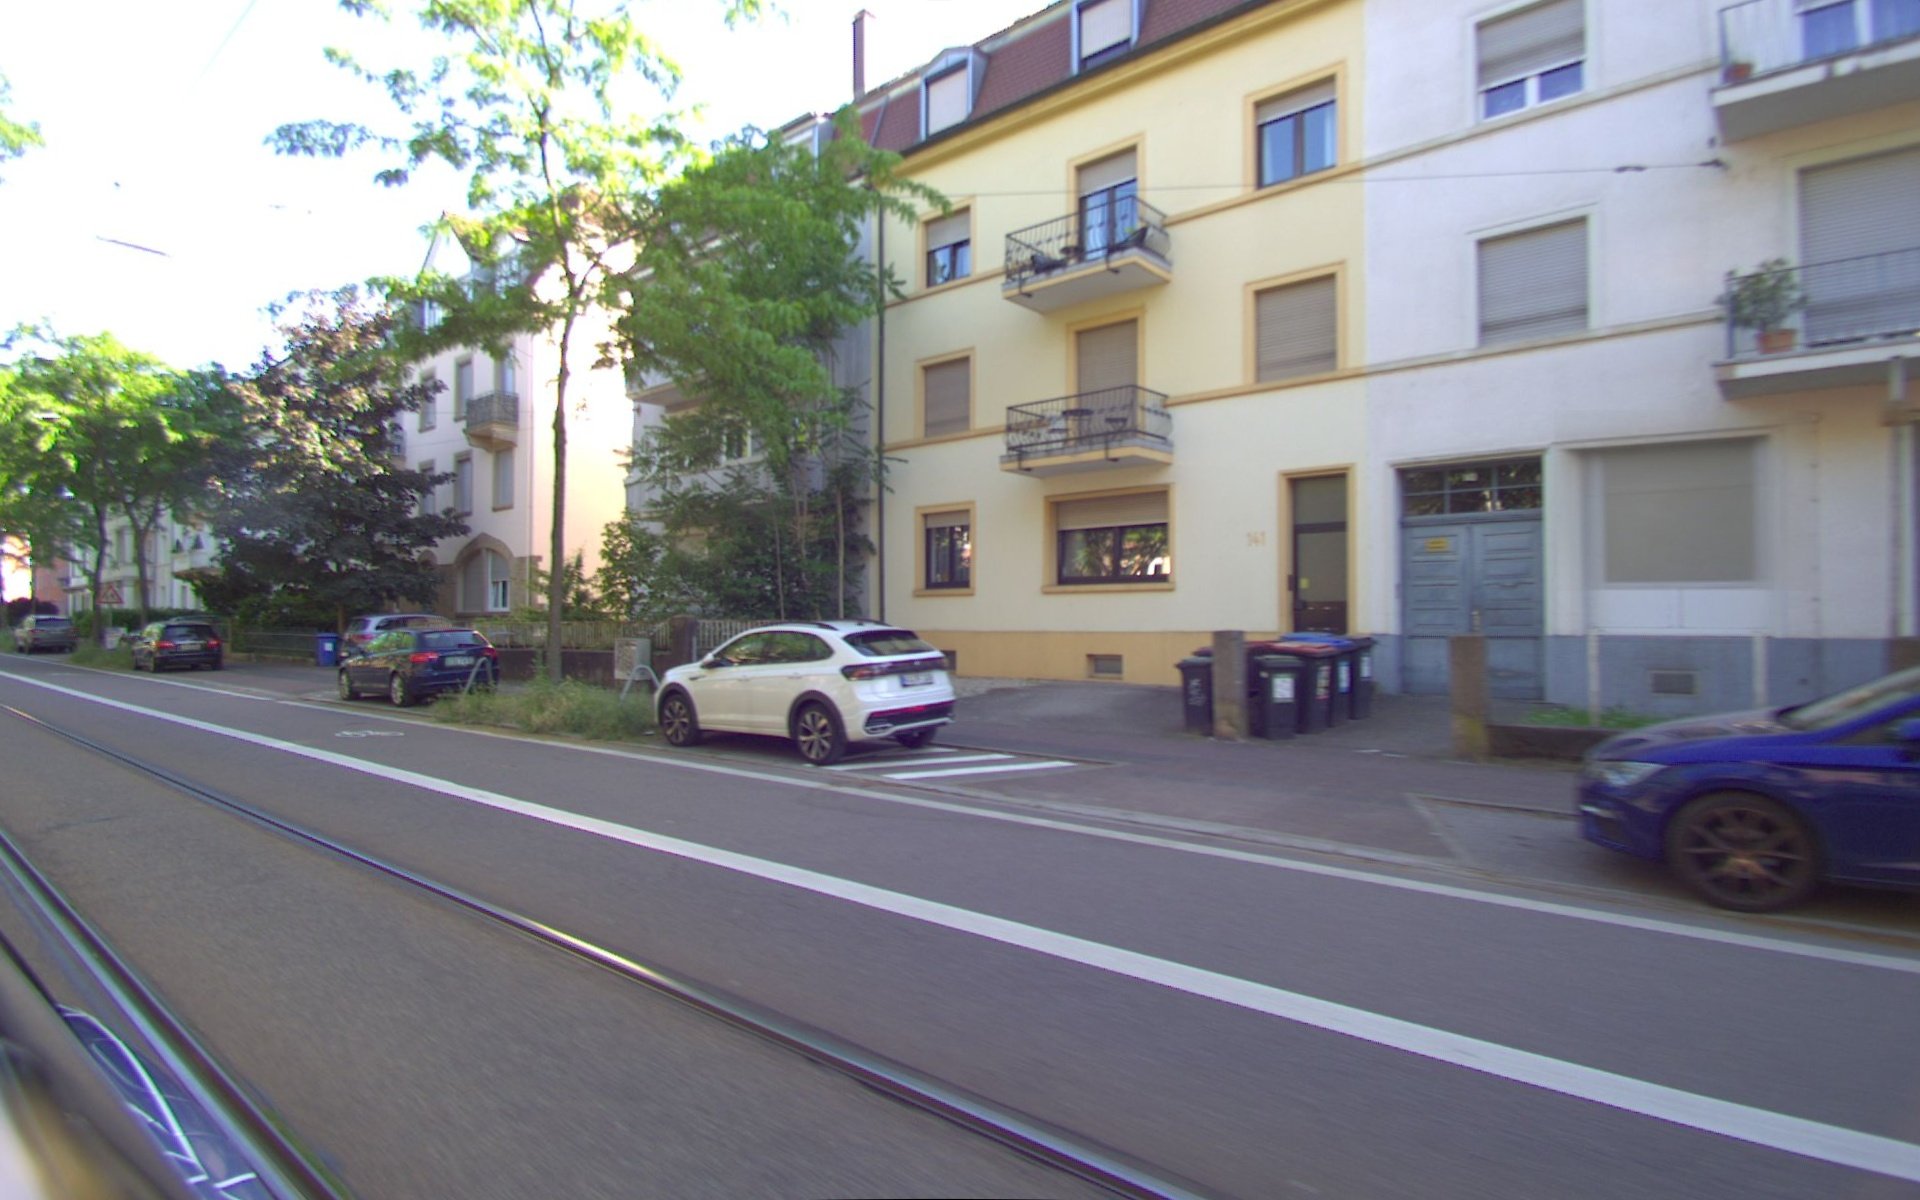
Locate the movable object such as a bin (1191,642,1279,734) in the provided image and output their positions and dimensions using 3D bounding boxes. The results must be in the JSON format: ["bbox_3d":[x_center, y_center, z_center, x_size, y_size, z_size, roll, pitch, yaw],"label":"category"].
[{"bbox_3d":[3.447,1.079,12.688,0.733,1.054,0.835,-1,0,44],"label":"movable object such as a bin"}]

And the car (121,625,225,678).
[{"bbox_3d":[-25.044,1.583,32.151,4.483,1.553,1.758,-1,-1,41],"label":"car"}]

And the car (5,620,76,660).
[{"bbox_3d":[-44.377,1.902,48.818,4.766,1.837,1.852,-1,-1,39],"label":"car"}]

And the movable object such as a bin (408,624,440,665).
[{"bbox_3d":[-14.313,1.189,27.010,0.670,1.074,0.535,-1,-2,41],"label":"movable object such as a bin"}]

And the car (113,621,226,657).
[{"bbox_3d":[-40.363,1.968,51.738,1.952,1.673,4.255,-2,0,42],"label":"car"}]

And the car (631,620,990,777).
[{"bbox_3d":[-1.915,1.028,12.128,4.367,1.522,1.799,-1,-1,40],"label":"car"}]

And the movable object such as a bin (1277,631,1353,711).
[{"bbox_3d":[5.056,0.990,14.404,0.733,1.054,0.835,-1,0,44],"label":"movable object such as a bin"}]

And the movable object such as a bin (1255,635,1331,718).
[{"bbox_3d":[4.561,1.024,13.863,0.733,1.054,0.700,-1,0,44],"label":"movable object such as a bin"}]

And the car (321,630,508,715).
[{"bbox_3d":[-10.529,1.302,19.408,4.330,1.417,1.688,-1,-1,40],"label":"car"}]

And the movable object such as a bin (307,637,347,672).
[{"bbox_3d":[-20.196,1.738,32.300,0.813,1.074,0.866,-1,-2,41],"label":"movable object such as a bin"}]

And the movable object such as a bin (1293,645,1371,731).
[{"bbox_3d":[4.589,1.063,12.491,0.733,0.983,0.553,-1,0,44],"label":"movable object such as a bin"}]

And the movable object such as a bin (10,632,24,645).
[{"bbox_3d":[-76.499,3.102,82.073,0.895,1.049,0.730,-1,-2,41],"label":"movable object such as a bin"}]

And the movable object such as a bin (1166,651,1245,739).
[{"bbox_3d":[2.950,1.123,12.180,0.733,0.983,0.553,-1,0,44],"label":"movable object such as a bin"}]

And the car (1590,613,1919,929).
[{"bbox_3d":[5.898,0.831,5.091,4.434,1.522,1.740,-1,-1,40],"label":"car"}]

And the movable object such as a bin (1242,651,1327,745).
[{"bbox_3d":[3.714,1.104,11.587,0.733,0.983,0.553,-1,0,44],"label":"movable object such as a bin"}]

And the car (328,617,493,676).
[{"bbox_3d":[-17.232,1.415,31.876,1.981,1.671,4.125,-1,-1,39],"label":"car"}]

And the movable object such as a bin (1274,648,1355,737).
[{"bbox_3d":[4.216,1.081,12.048,0.733,0.983,0.553,-1,0,44],"label":"movable object such as a bin"}]

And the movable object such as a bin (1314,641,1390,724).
[{"bbox_3d":[5.007,1.034,12.930,0.733,0.983,0.553,-1,0,44],"label":"movable object such as a bin"}]

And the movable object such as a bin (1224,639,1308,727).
[{"bbox_3d":[4.029,1.065,13.314,0.733,1.054,0.835,-1,0,44],"label":"movable object such as a bin"}]
